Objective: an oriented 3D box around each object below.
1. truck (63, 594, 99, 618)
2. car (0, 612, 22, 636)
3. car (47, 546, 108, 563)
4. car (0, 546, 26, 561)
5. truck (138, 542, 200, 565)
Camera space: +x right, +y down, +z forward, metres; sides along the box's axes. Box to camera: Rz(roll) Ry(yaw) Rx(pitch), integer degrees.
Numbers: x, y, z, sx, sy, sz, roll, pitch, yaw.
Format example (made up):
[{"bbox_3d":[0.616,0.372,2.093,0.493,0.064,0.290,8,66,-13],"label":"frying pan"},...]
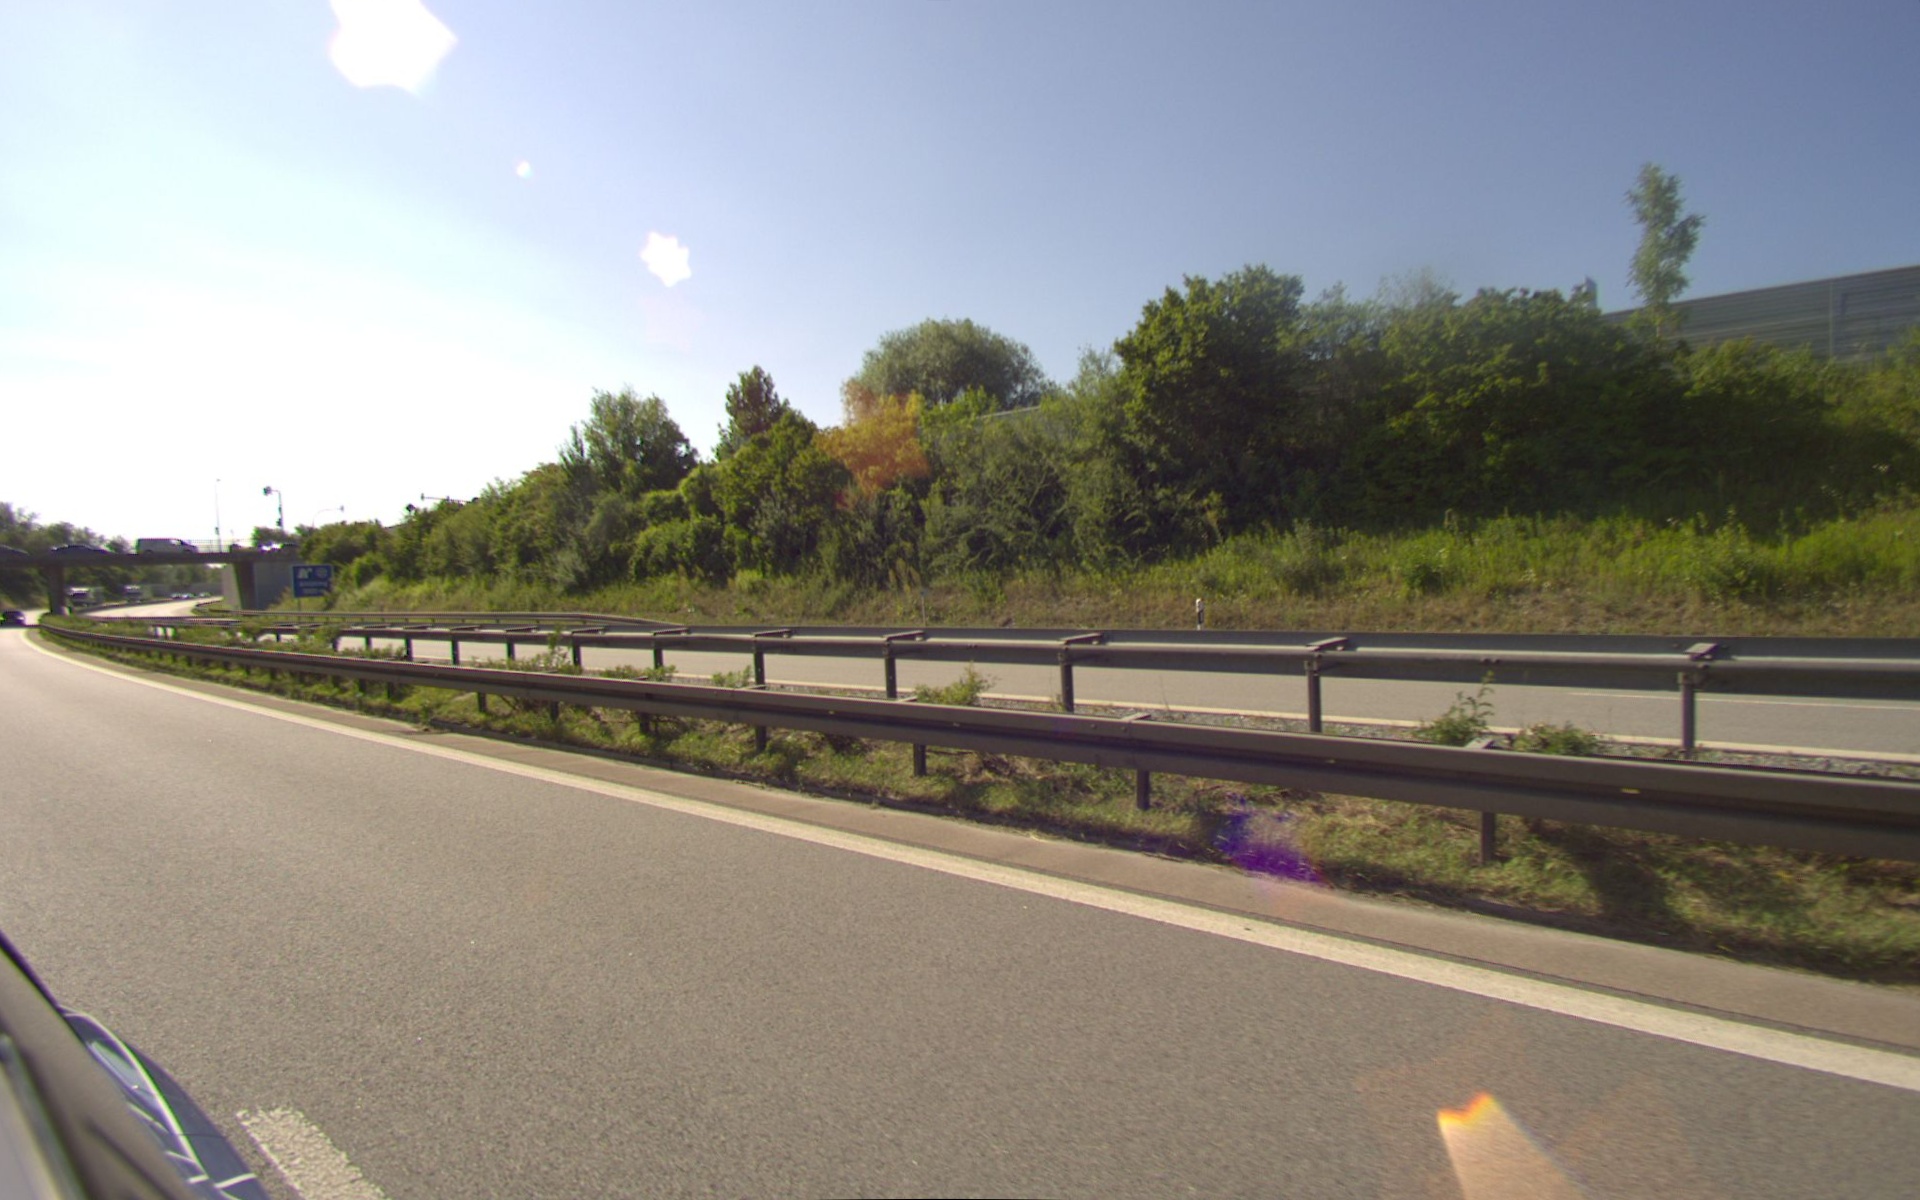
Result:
[{"bbox_3d":[-163.654,1.019,188.467,3.379,4.243,12.119,-1,1,-33],"label":"truck"},{"bbox_3d":[-87.145,2.177,92.439,1.969,2.028,4.606,-3,2,-41],"label":"car"},{"bbox_3d":[-84.838,-4.349,97.356,4.374,1.567,1.909,-1,1,-42],"label":"car"},{"bbox_3d":[-88.787,-4.323,93.362,3.787,1.315,1.827,-1,1,-42],"label":"car"},{"bbox_3d":[-79.612,-4.618,101.858,4.796,2.183,2.003,-1,1,-41],"label":"truck"}]
